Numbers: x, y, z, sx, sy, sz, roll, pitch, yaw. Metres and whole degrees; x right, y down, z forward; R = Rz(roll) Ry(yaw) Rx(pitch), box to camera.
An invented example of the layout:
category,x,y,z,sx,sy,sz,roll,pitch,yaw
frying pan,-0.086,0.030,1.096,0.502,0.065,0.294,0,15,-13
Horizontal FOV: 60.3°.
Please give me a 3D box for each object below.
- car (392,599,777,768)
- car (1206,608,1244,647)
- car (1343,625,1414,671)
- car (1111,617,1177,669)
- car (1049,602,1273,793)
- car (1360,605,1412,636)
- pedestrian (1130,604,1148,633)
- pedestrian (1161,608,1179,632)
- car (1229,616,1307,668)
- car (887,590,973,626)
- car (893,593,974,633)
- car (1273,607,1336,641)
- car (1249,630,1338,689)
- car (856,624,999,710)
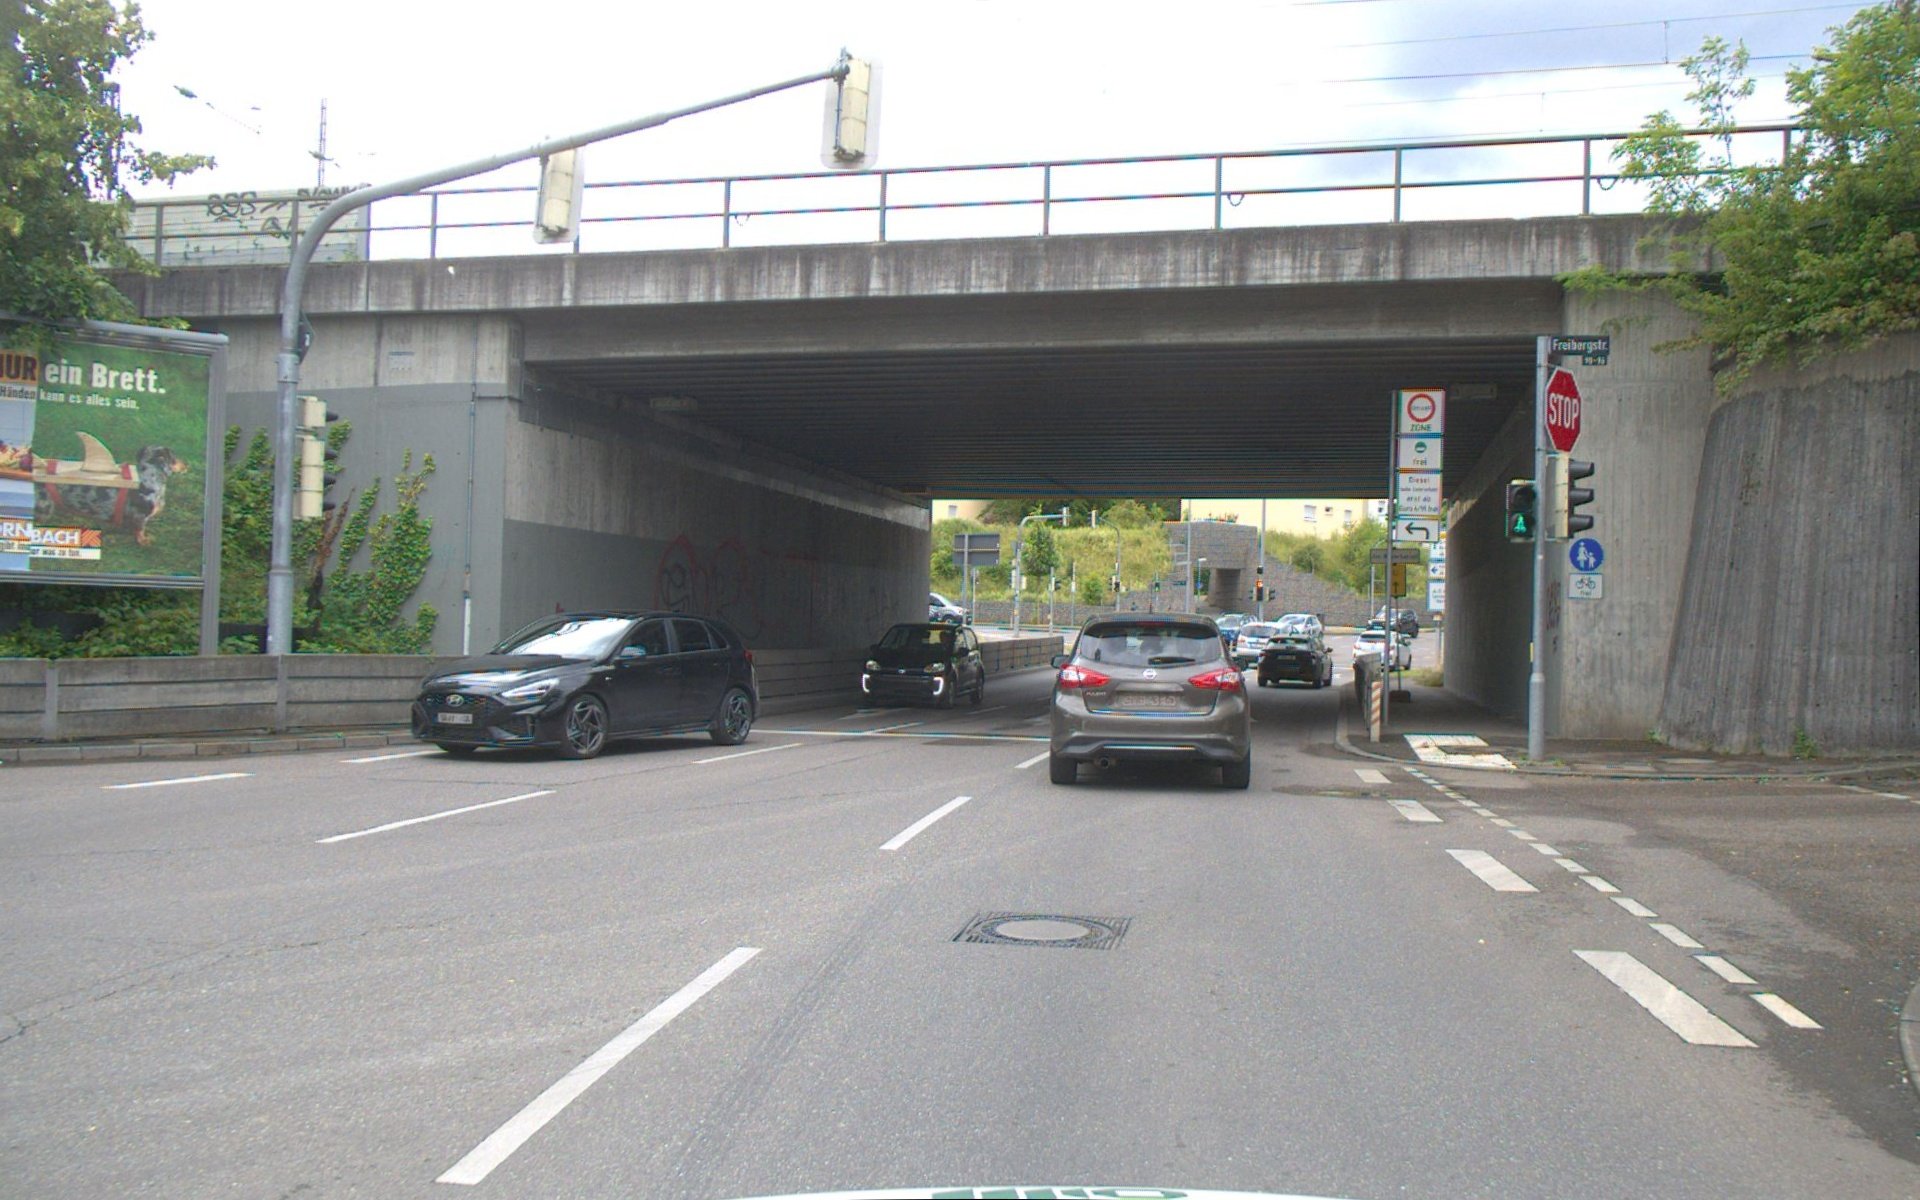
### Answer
category,x,y,z,sx,sy,sz,roll,pitch,yaw
car,-3.802,0.822,17.503,1.780,1.503,4.133,2,-1,25
car,12.195,1.238,76.257,1.651,1.738,3.792,1,0,9
car,15.800,1.784,62.326,1.953,1.646,3.998,1,-1,23
car,6.496,1.507,58.110,1.745,1.689,4.111,1,-1,14
car,1.812,0.844,15.654,1.806,1.519,4.002,1,-1,4
car,24.847,1.198,96.392,1.956,1.728,4.161,1,-1,28
pedestrian,10.483,1.084,96.863,0.932,1.641,0.700,2,0,4
pedestrian,11.597,1.103,91.362,0.891,1.245,0.730,4,1,5
car,11.141,1.515,59.700,1.794,1.735,3.865,2,0,25
car,-1.495,0.413,82.780,3.904,1.624,1.873,2,0,18
car,-1.392,0.679,87.243,3.902,1.982,2.002,1,-1,12
car,17.897,1.253,85.860,1.957,1.668,3.990,1,0,32
car,9.399,1.619,46.418,1.860,1.492,4.001,1,0,20
car,-0.517,1.186,30.063,1.686,1.434,4.003,1,-1,12
